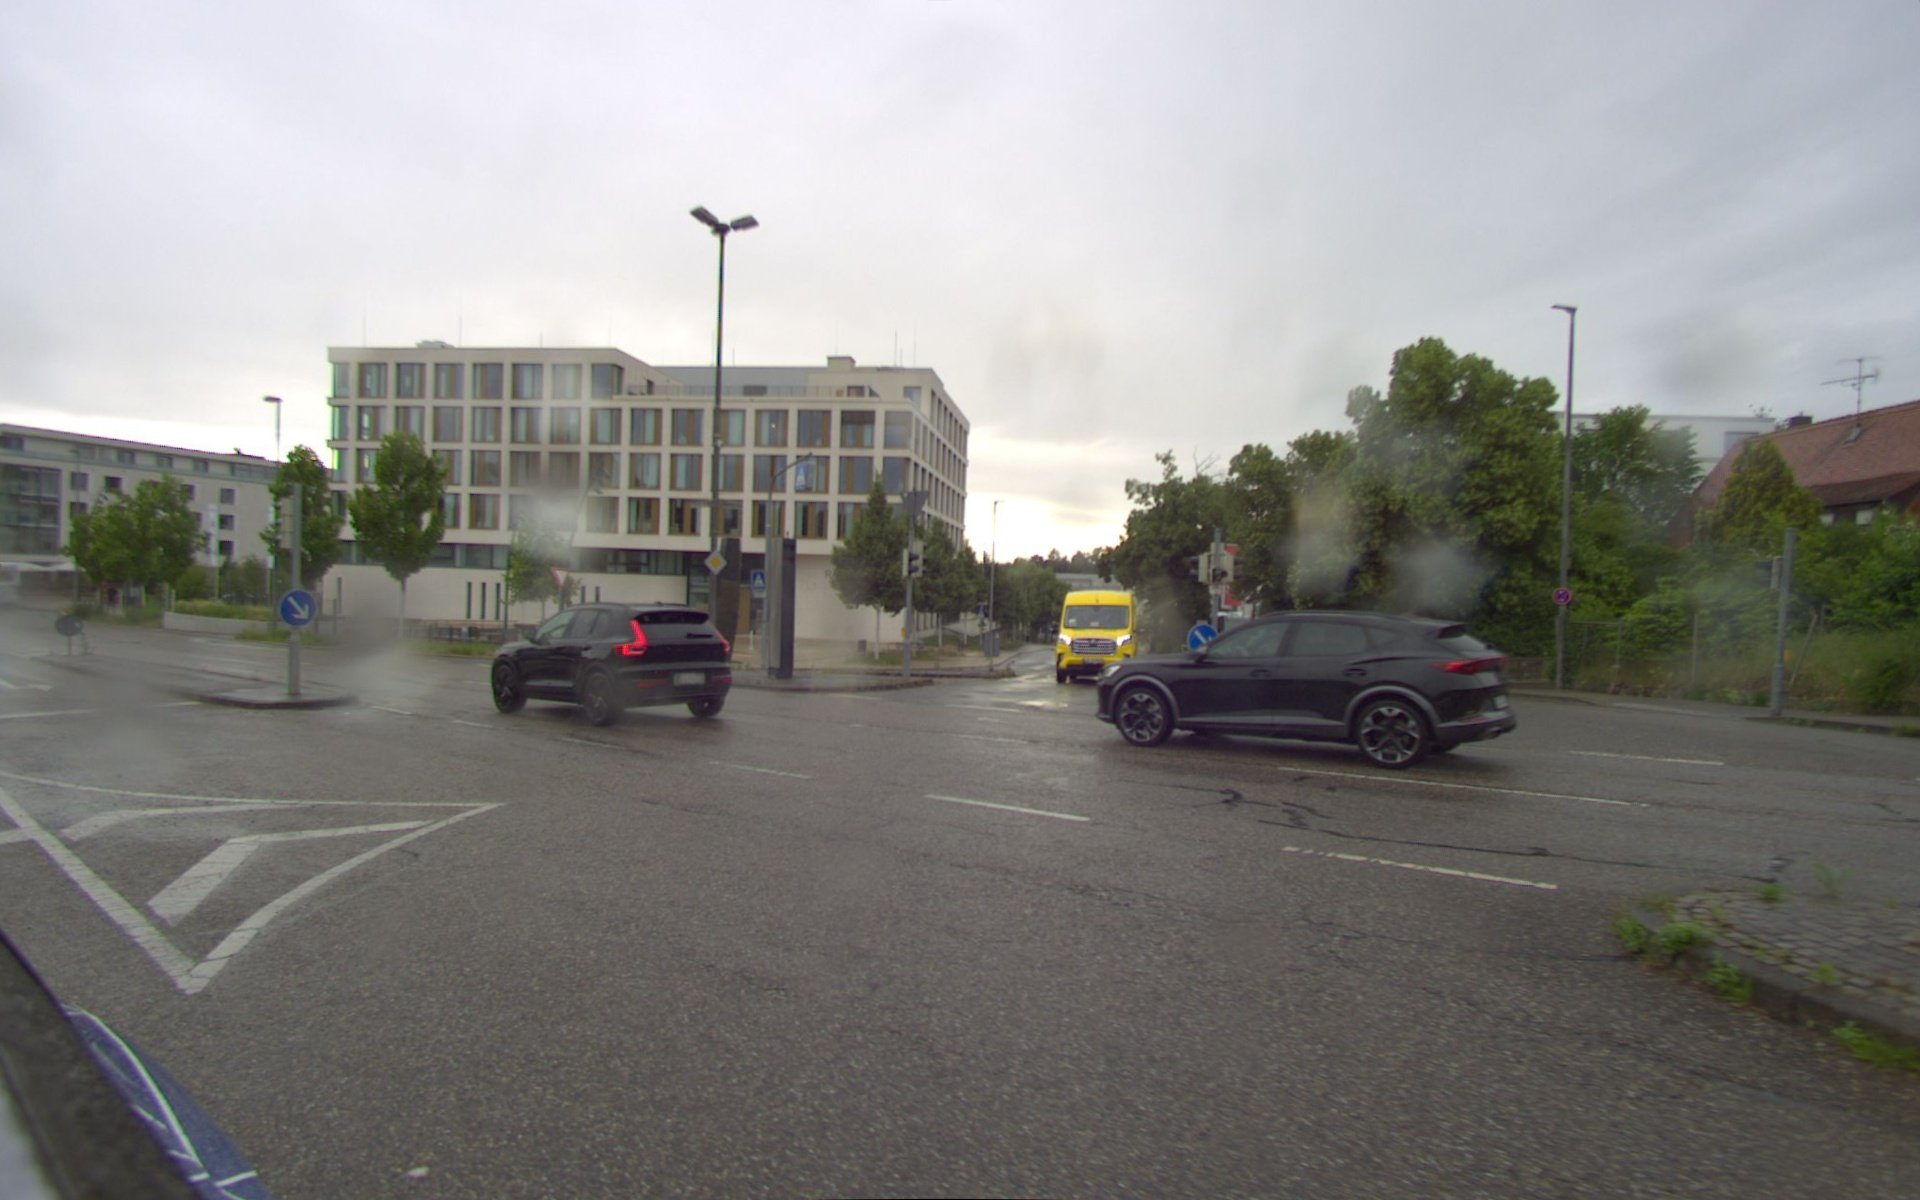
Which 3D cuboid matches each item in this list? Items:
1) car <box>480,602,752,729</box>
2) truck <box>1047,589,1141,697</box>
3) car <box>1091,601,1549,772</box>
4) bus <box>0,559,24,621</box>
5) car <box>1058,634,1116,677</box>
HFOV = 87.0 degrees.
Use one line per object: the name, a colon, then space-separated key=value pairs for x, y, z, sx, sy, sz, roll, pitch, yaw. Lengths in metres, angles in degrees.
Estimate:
car: x=-5.023 y=0.843 z=14.543 sx=4.072 sy=1.564 sz=1.883 roll=0 pitch=-2 yaw=41
truck: x=3.780 y=1.164 z=27.620 sx=2.204 sy=2.557 sz=6.155 roll=1 pitch=-2 yaw=10
car: x=3.781 y=0.804 z=10.966 sx=4.290 sy=1.489 sz=1.931 roll=0 pitch=-3 yaw=38
bus: x=-70.778 y=-0.745 z=71.550 sx=18.188 sy=4.025 sz=2.918 roll=0 pitch=-2 yaw=35
car: x=4.403 y=1.896 z=35.005 sx=1.843 sy=1.327 sz=4.345 roll=2 pitch=-2 yaw=8
